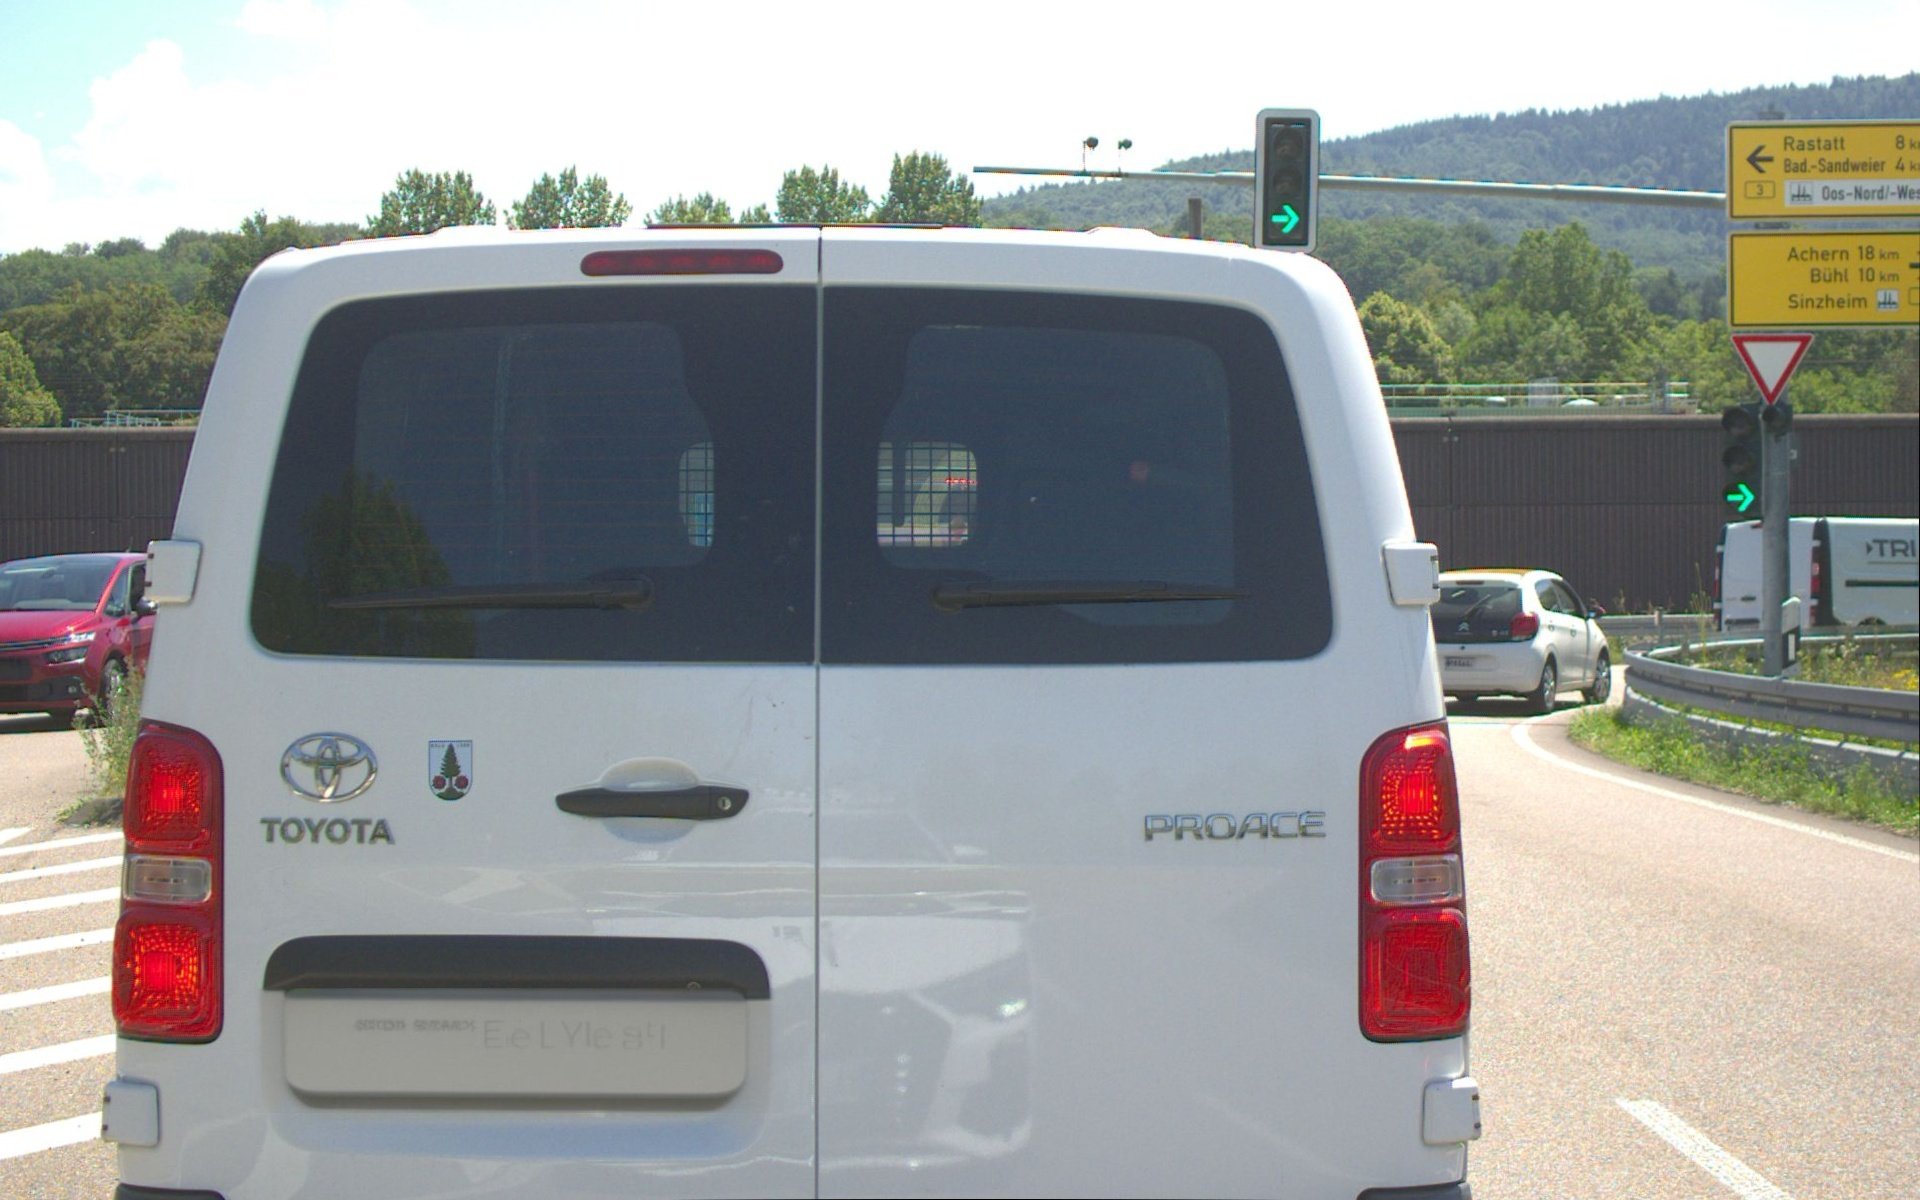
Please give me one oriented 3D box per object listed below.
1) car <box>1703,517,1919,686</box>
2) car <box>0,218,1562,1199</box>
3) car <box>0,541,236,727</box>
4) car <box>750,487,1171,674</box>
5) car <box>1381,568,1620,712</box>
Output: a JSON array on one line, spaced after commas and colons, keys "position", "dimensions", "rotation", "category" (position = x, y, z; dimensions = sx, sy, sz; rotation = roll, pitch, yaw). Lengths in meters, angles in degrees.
[{"position": [11.652, 0.012, 42.489], "dimensions": [4.821, 1.993, 1.935], "rotation": [0, 0, -32], "category": "car"}, {"position": [-0.264, 0.471, 6.154], "dimensions": [1.886, 1.880, 4.000], "rotation": [0, 0, -1], "category": "car"}, {"position": [-8.597, 0.278, 32.864], "dimensions": [1.994, 1.651, 4.323], "rotation": [0, 1, 7], "category": "car"}, {"position": [0.004, -0.283, 46.772], "dimensions": [5.343, 2.442, 2.040], "rotation": [0, 1, -19], "category": "car"}, {"position": [5.721, 0.391, 36.099], "dimensions": [1.658, 1.426, 3.361], "rotation": [1, 0, 24], "category": "car"}]
